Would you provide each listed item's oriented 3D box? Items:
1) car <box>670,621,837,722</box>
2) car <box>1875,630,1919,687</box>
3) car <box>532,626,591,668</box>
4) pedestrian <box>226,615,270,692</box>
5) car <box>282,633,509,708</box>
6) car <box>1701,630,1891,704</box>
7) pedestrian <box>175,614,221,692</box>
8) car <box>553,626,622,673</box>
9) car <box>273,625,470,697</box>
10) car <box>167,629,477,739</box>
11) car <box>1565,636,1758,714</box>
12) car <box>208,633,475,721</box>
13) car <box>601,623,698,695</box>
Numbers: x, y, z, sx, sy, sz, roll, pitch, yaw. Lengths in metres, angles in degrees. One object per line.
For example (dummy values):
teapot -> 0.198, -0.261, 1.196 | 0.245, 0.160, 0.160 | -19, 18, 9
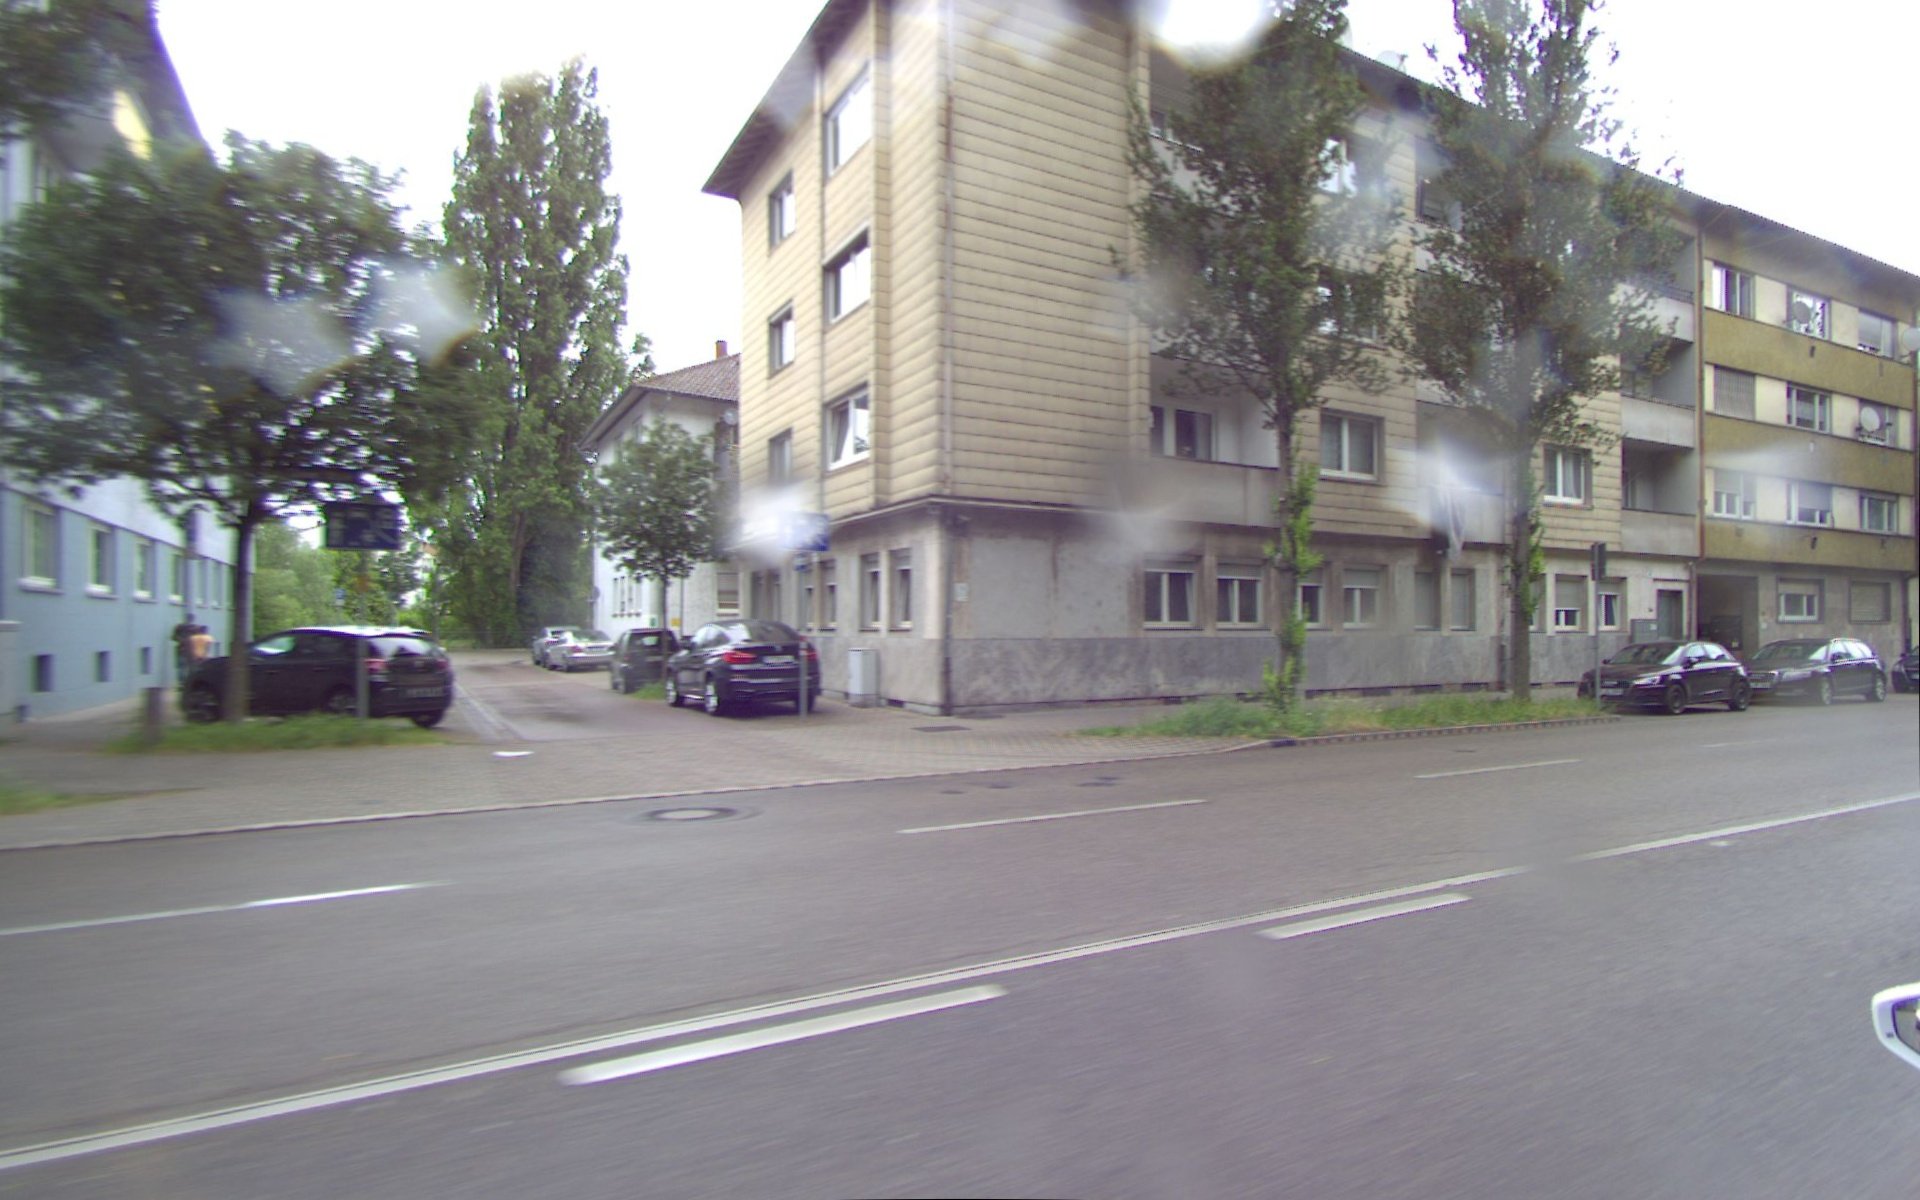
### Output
car -> -3.900, 1.213, 18.437 | 1.902, 1.600, 4.132 | 0, -1, -28
car -> 27.274, 1.563, 27.636 | 4.459, 1.508, 1.712 | 0, -3, -29
car -> -16.590, 1.919, 41.693 | 1.690, 1.572, 4.096 | -1, -1, -30
pedestrian -> -17.350, 1.290, 24.501 | 0.739, 1.840, 0.760 | 0, -1, -27
car -> -12.060, 1.476, 21.582 | 3.919, 1.514, 1.877 | 0, -1, 9
car -> 19.264, 1.486, 23.107 | 4.733, 1.508, 1.809 | 0, -3, -30
pedestrian -> -18.424, 1.270, 24.309 | 0.739, 1.840, 0.760 | 0, -1, -27
car -> -13.617, 1.758, 36.564 | 1.690, 1.572, 3.968 | -1, -1, -30
car -> -14.957, 1.524, 25.693 | 3.922, 1.747, 1.820 | 0, 0, -2
car -> -9.588, 1.223, 15.182 | 3.919, 1.513, 1.715 | -1, -3, 15
car -> 14.245, 1.464, 20.370 | 3.939, 1.405, 1.619 | 0, -2, -29
car -> -11.261, 1.371, 18.421 | 3.919, 1.514, 1.796 | 0, -2, 9
car -> -8.016, 1.448, 25.729 | 1.688, 1.653, 3.972 | -1, -1, -27
